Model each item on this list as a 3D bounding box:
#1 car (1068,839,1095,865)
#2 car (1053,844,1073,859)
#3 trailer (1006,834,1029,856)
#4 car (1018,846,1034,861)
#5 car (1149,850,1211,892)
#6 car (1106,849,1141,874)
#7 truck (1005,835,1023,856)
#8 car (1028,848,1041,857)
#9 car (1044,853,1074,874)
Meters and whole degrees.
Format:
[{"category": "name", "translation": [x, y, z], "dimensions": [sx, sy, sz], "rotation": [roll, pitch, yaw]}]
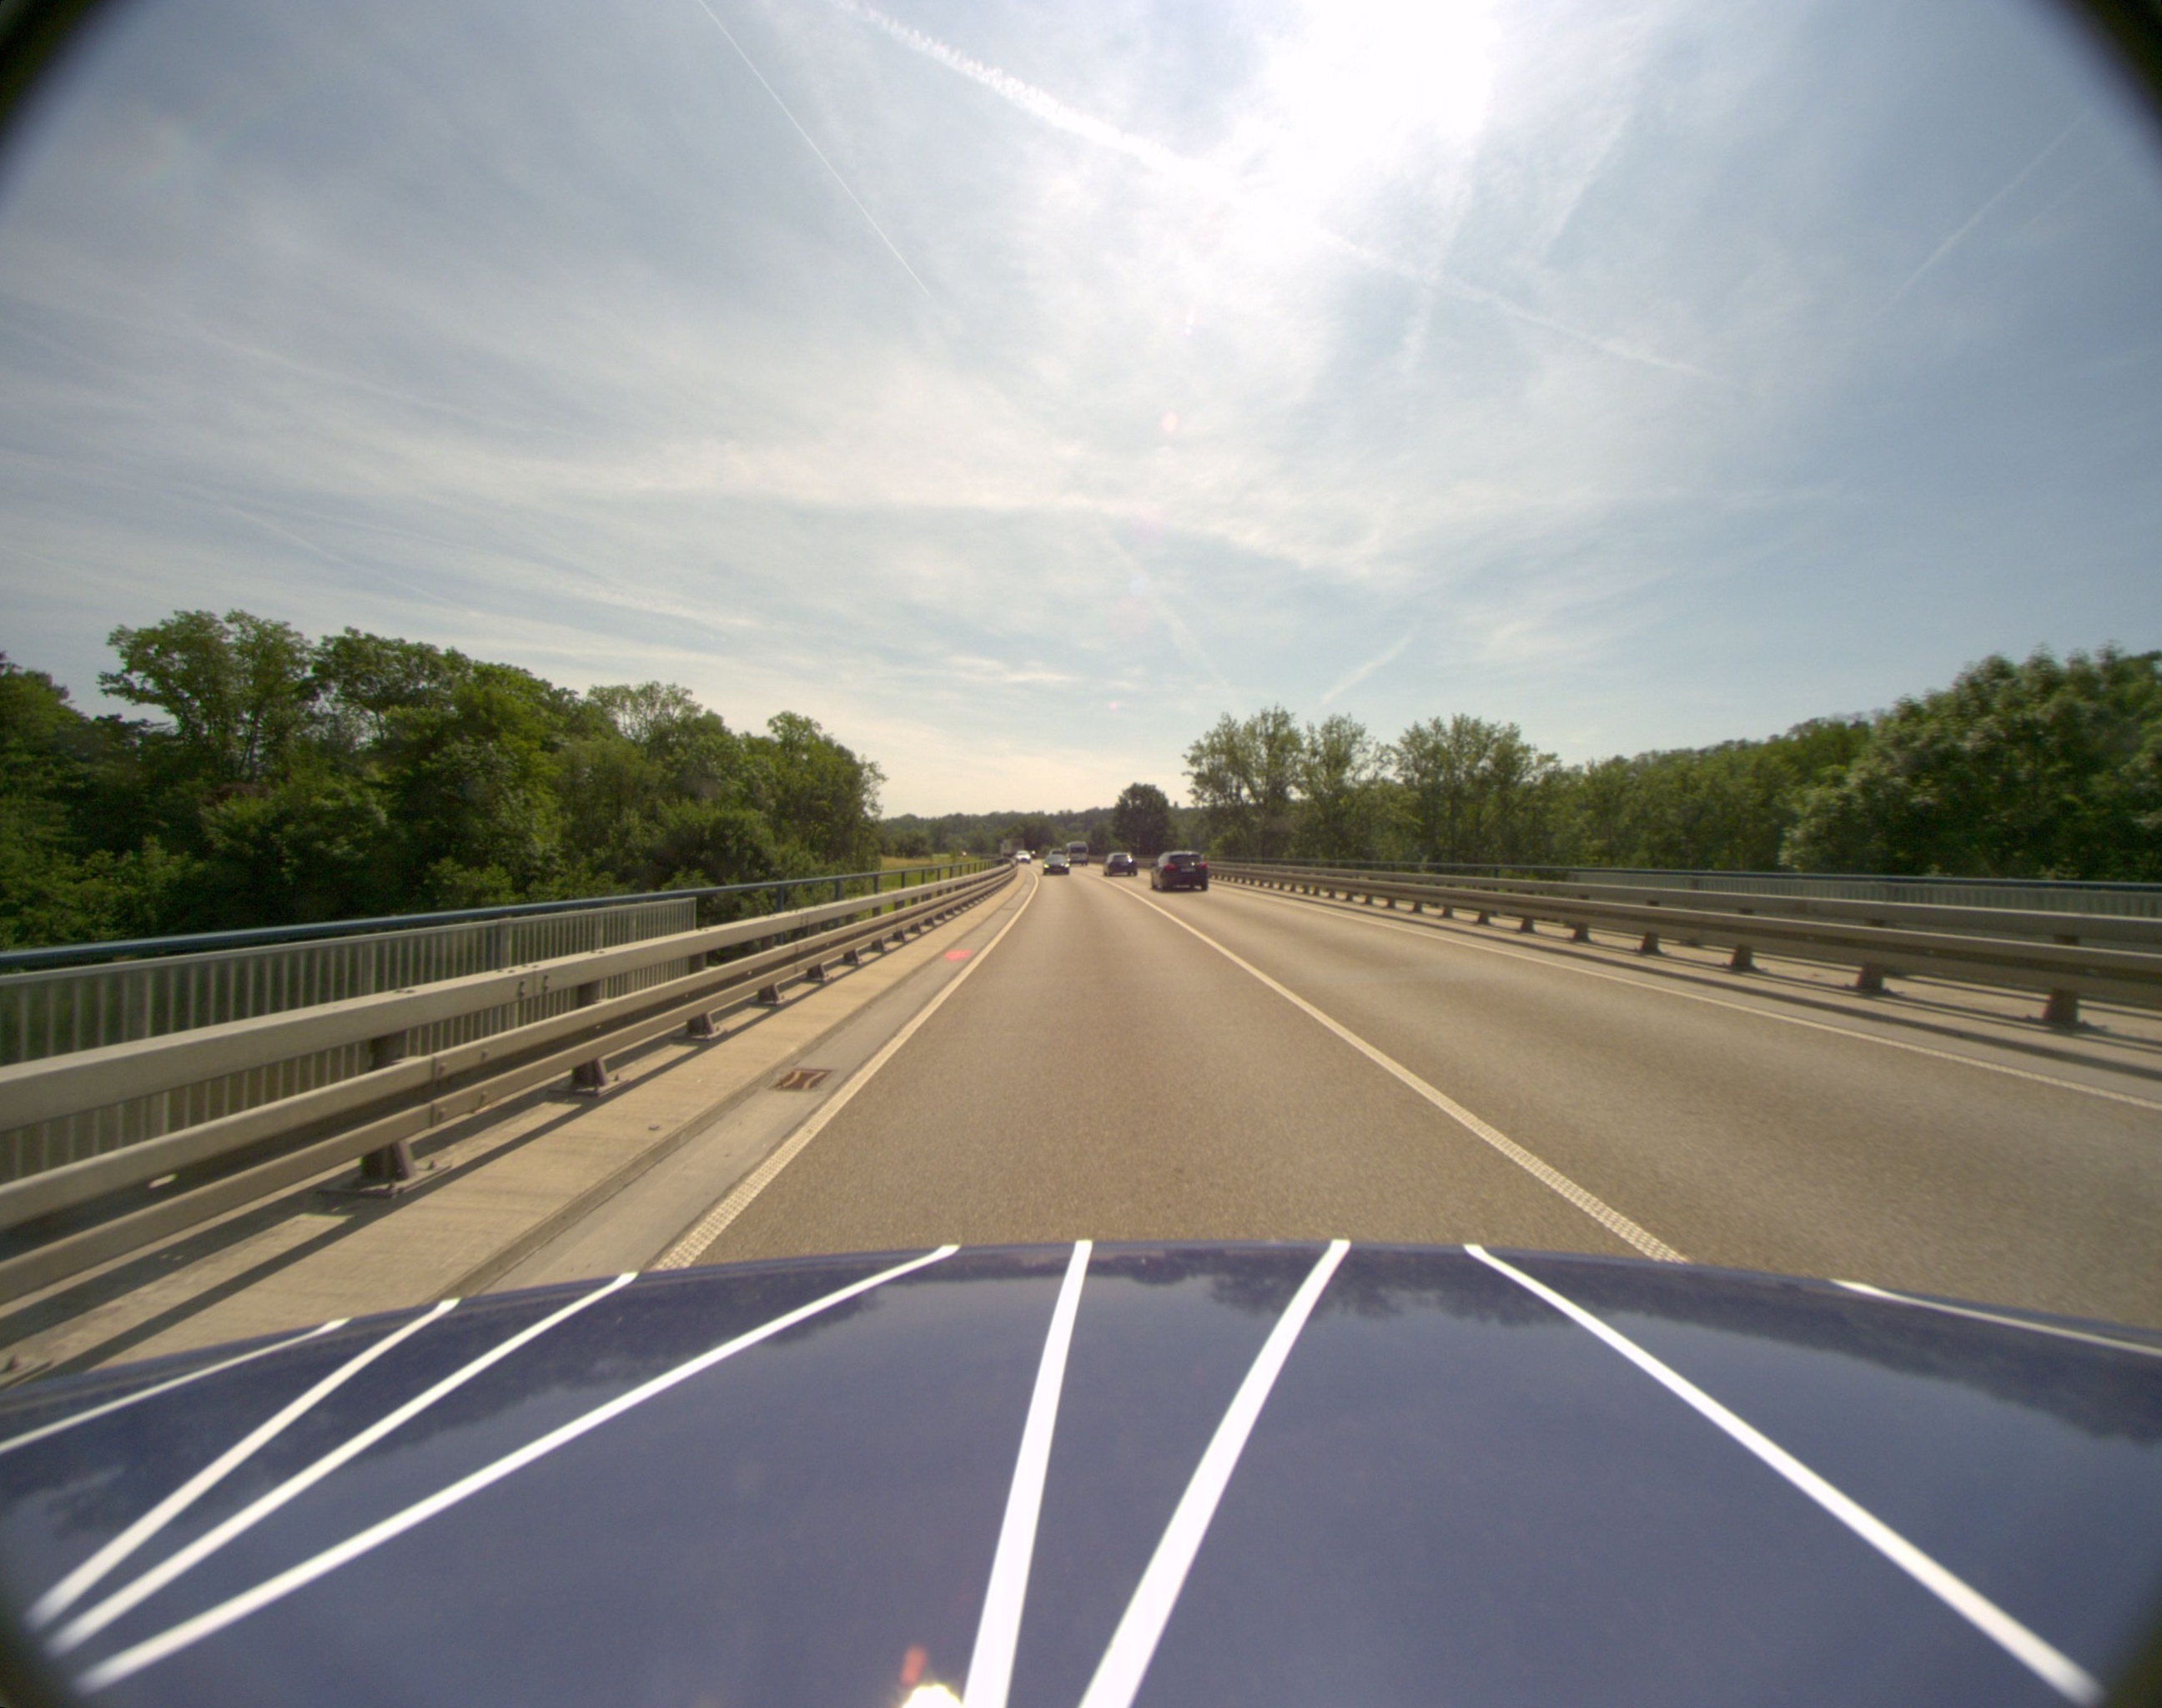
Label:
[{"category": "car", "translation": [-0.006, -0.297, 78.810], "dimensions": [2.186, 2.545, 5.792], "rotation": [-2, 1, -5]}, {"category": "car", "translation": [-2.365, -0.361, 97.962], "dimensions": [1.859, 1.788, 4.972], "rotation": [-2, 1, -9]}, {"category": "trailer", "translation": [-12.830, -1.697, 152.426], "dimensions": [2.863, 4.163, 14.482], "rotation": [-2, 0, -11]}, {"category": "car", "translation": [-7.237, -0.082, 99.676], "dimensions": [1.981, 1.779, 3.997], "rotation": [-2, 1, -6]}, {"category": "car", "translation": [3.783, 0.606, 29.695], "dimensions": [1.725, 1.474, 4.568], "rotation": [-2, 1, -1]}, {"category": "car", "translation": [2.661, 0.441, 48.036], "dimensions": [1.725, 1.427, 4.615], "rotation": [-2, 1, -2]}, {"category": "truck", "translation": [-14.021, -1.719, 158.615], "dimensions": [2.856, 4.136, 6.324], "rotation": [-2, 1, -11]}, {"category": "car", "translation": [-8.025, -0.263, 130.863], "dimensions": [1.667, 1.449, 3.889], "rotation": [-1, 0, -13]}, {"category": "car", "translation": [-1.576, 0.648, 53.328], "dimensions": [1.981, 1.333, 3.999], "rotation": [-2, 0, -2]}]
